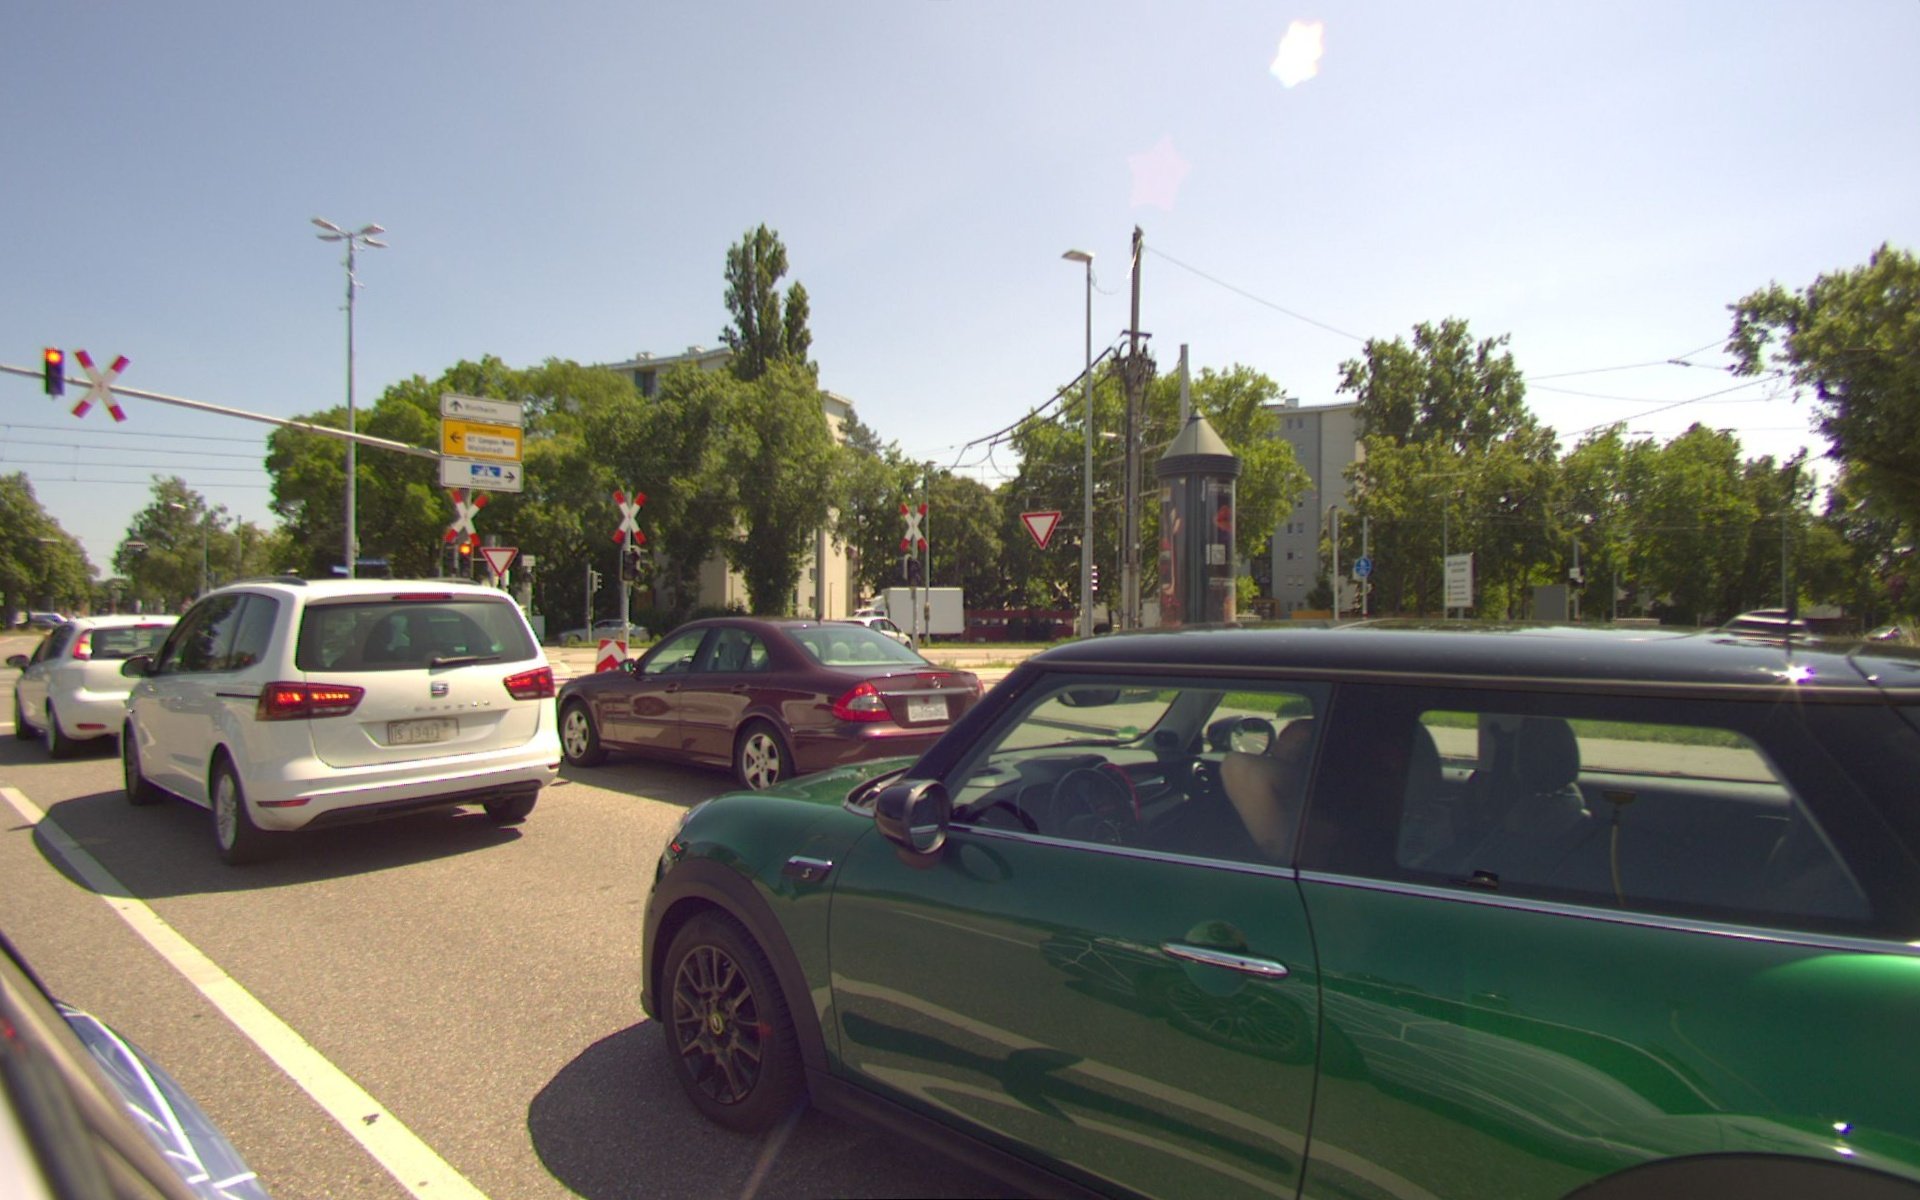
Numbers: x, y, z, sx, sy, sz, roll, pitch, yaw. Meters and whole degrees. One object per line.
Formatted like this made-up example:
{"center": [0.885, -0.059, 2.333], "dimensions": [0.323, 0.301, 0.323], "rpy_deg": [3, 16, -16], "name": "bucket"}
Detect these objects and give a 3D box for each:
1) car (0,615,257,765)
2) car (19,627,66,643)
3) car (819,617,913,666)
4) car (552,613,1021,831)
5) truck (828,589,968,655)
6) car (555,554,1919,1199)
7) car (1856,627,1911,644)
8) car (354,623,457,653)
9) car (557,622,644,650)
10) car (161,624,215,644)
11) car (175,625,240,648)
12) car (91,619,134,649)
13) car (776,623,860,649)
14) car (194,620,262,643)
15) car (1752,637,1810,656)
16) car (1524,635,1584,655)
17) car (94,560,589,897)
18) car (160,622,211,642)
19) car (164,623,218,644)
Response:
{"center": [-9.958, 0.930, 11.970], "dimensions": [3.958, 1.448, 1.750], "rpy_deg": [-1, 0, 40], "name": "car"}
{"center": [-91.241, 3.457, 100.676], "dimensions": [3.438, 1.487, 1.586], "rpy_deg": [0, -3, -41], "name": "car"}
{"center": [-3.174, 1.485, 34.967], "dimensions": [1.732, 1.558, 4.232], "rpy_deg": [-2, -4, 18], "name": "car"}
{"center": [-1.689, 0.872, 8.909], "dimensions": [4.282, 1.468, 1.742], "rpy_deg": [-1, -2, 40], "name": "car"}
{"center": [-3.595, 1.295, 58.155], "dimensions": [7.579, 3.560, 2.596], "rpy_deg": [0, -4, -18], "name": "truck"}
{"center": [0.713, 0.712, 2.674], "dimensions": [3.988, 1.474, 1.705], "rpy_deg": [-1, -1, 41], "name": "car"}
{"center": [72.340, 2.801, 79.287], "dimensions": [3.582, 1.296, 1.610], "rpy_deg": [0, -4, -20], "name": "car"}
{"center": [-27.247, 1.859, 49.876], "dimensions": [4.142, 1.436, 1.855], "rpy_deg": [0, -2, -18], "name": "car"}
{"center": [-18.570, 1.862, 52.455], "dimensions": [4.142, 1.436, 1.854], "rpy_deg": [0, -2, -18], "name": "car"}
{"center": [-64.435, 2.850, 84.480], "dimensions": [3.438, 1.566, 1.586], "rpy_deg": [0, -3, -41], "name": "car"}
{"center": [-50.963, 2.441, 68.568], "dimensions": [3.438, 1.439, 1.586], "rpy_deg": [0, -3, -41], "name": "car"}
{"center": [-50.881, 2.043, 60.724], "dimensions": [1.783, 1.731, 4.348], "rpy_deg": [2, -3, -42], "name": "car"}
{"center": [-7.281, 1.844, 51.793], "dimensions": [3.931, 1.296, 1.752], "rpy_deg": [0, -4, -20], "name": "car"}
{"center": [-48.064, 2.066, 66.517], "dimensions": [3.440, 1.439, 1.585], "rpy_deg": [0, -3, -44], "name": "car"}
{"center": [60.016, 3.388, 73.950], "dimensions": [3.582, 1.296, 1.610], "rpy_deg": [0, -4, -20], "name": "car"}
{"center": [40.939, 3.089, 69.715], "dimensions": [3.582, 1.296, 1.610], "rpy_deg": [0, -4, -20], "name": "car"}
{"center": [-4.813, 0.711, 7.506], "dimensions": [4.829, 1.736, 1.793], "rpy_deg": [-1, -1, 41], "name": "car"}
{"center": [-66.489, 2.730, 86.892], "dimensions": [3.438, 1.591, 1.586], "rpy_deg": [0, -3, -41], "name": "car"}
{"center": [-62.997, 2.741, 82.925], "dimensions": [3.438, 1.566, 1.586], "rpy_deg": [0, -3, -41], "name": "car"}
